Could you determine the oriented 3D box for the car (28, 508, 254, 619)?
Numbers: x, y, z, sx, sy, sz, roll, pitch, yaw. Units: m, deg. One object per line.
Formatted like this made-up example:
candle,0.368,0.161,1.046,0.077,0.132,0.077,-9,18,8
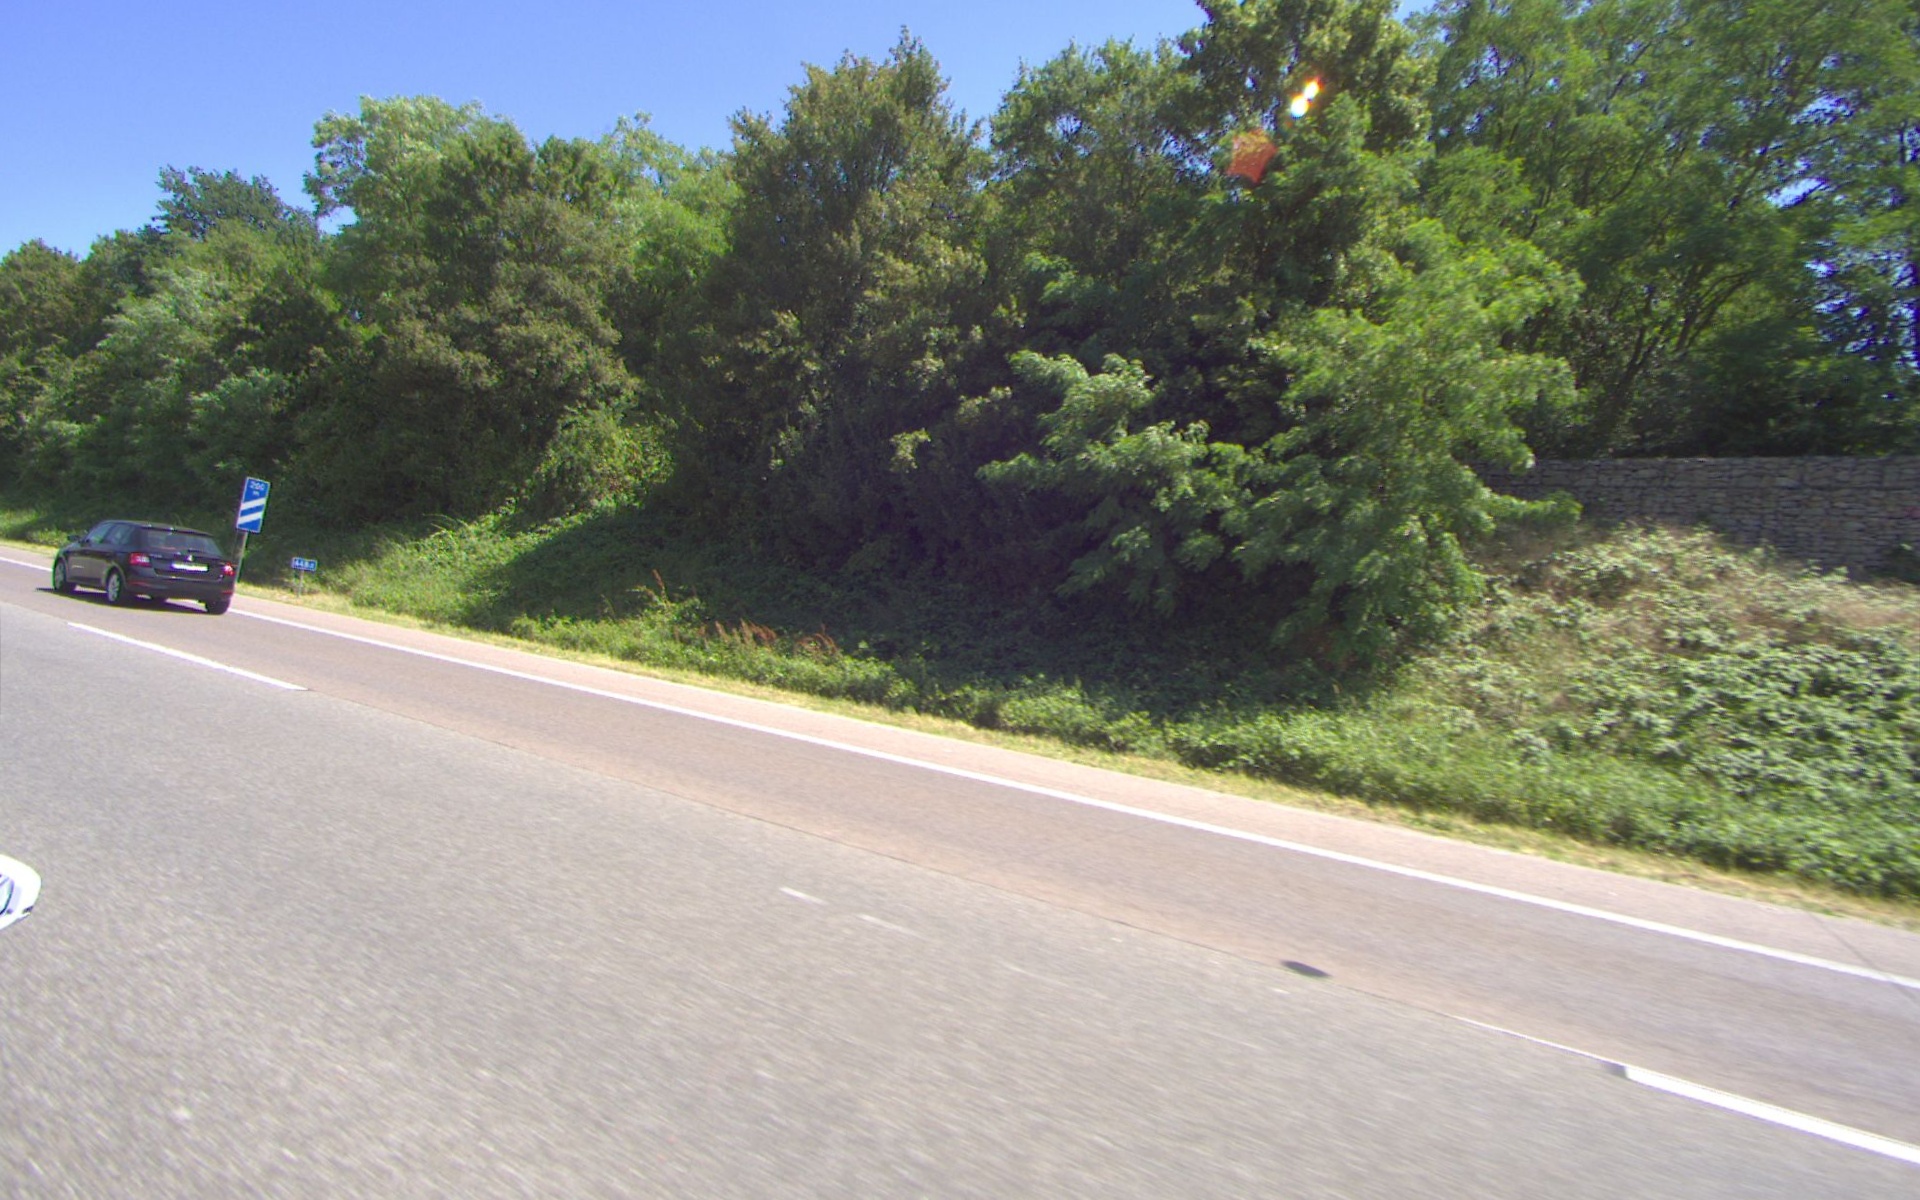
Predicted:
car,-14.749,-0.685,18.051,4.498,1.464,1.673,6,-2,32
